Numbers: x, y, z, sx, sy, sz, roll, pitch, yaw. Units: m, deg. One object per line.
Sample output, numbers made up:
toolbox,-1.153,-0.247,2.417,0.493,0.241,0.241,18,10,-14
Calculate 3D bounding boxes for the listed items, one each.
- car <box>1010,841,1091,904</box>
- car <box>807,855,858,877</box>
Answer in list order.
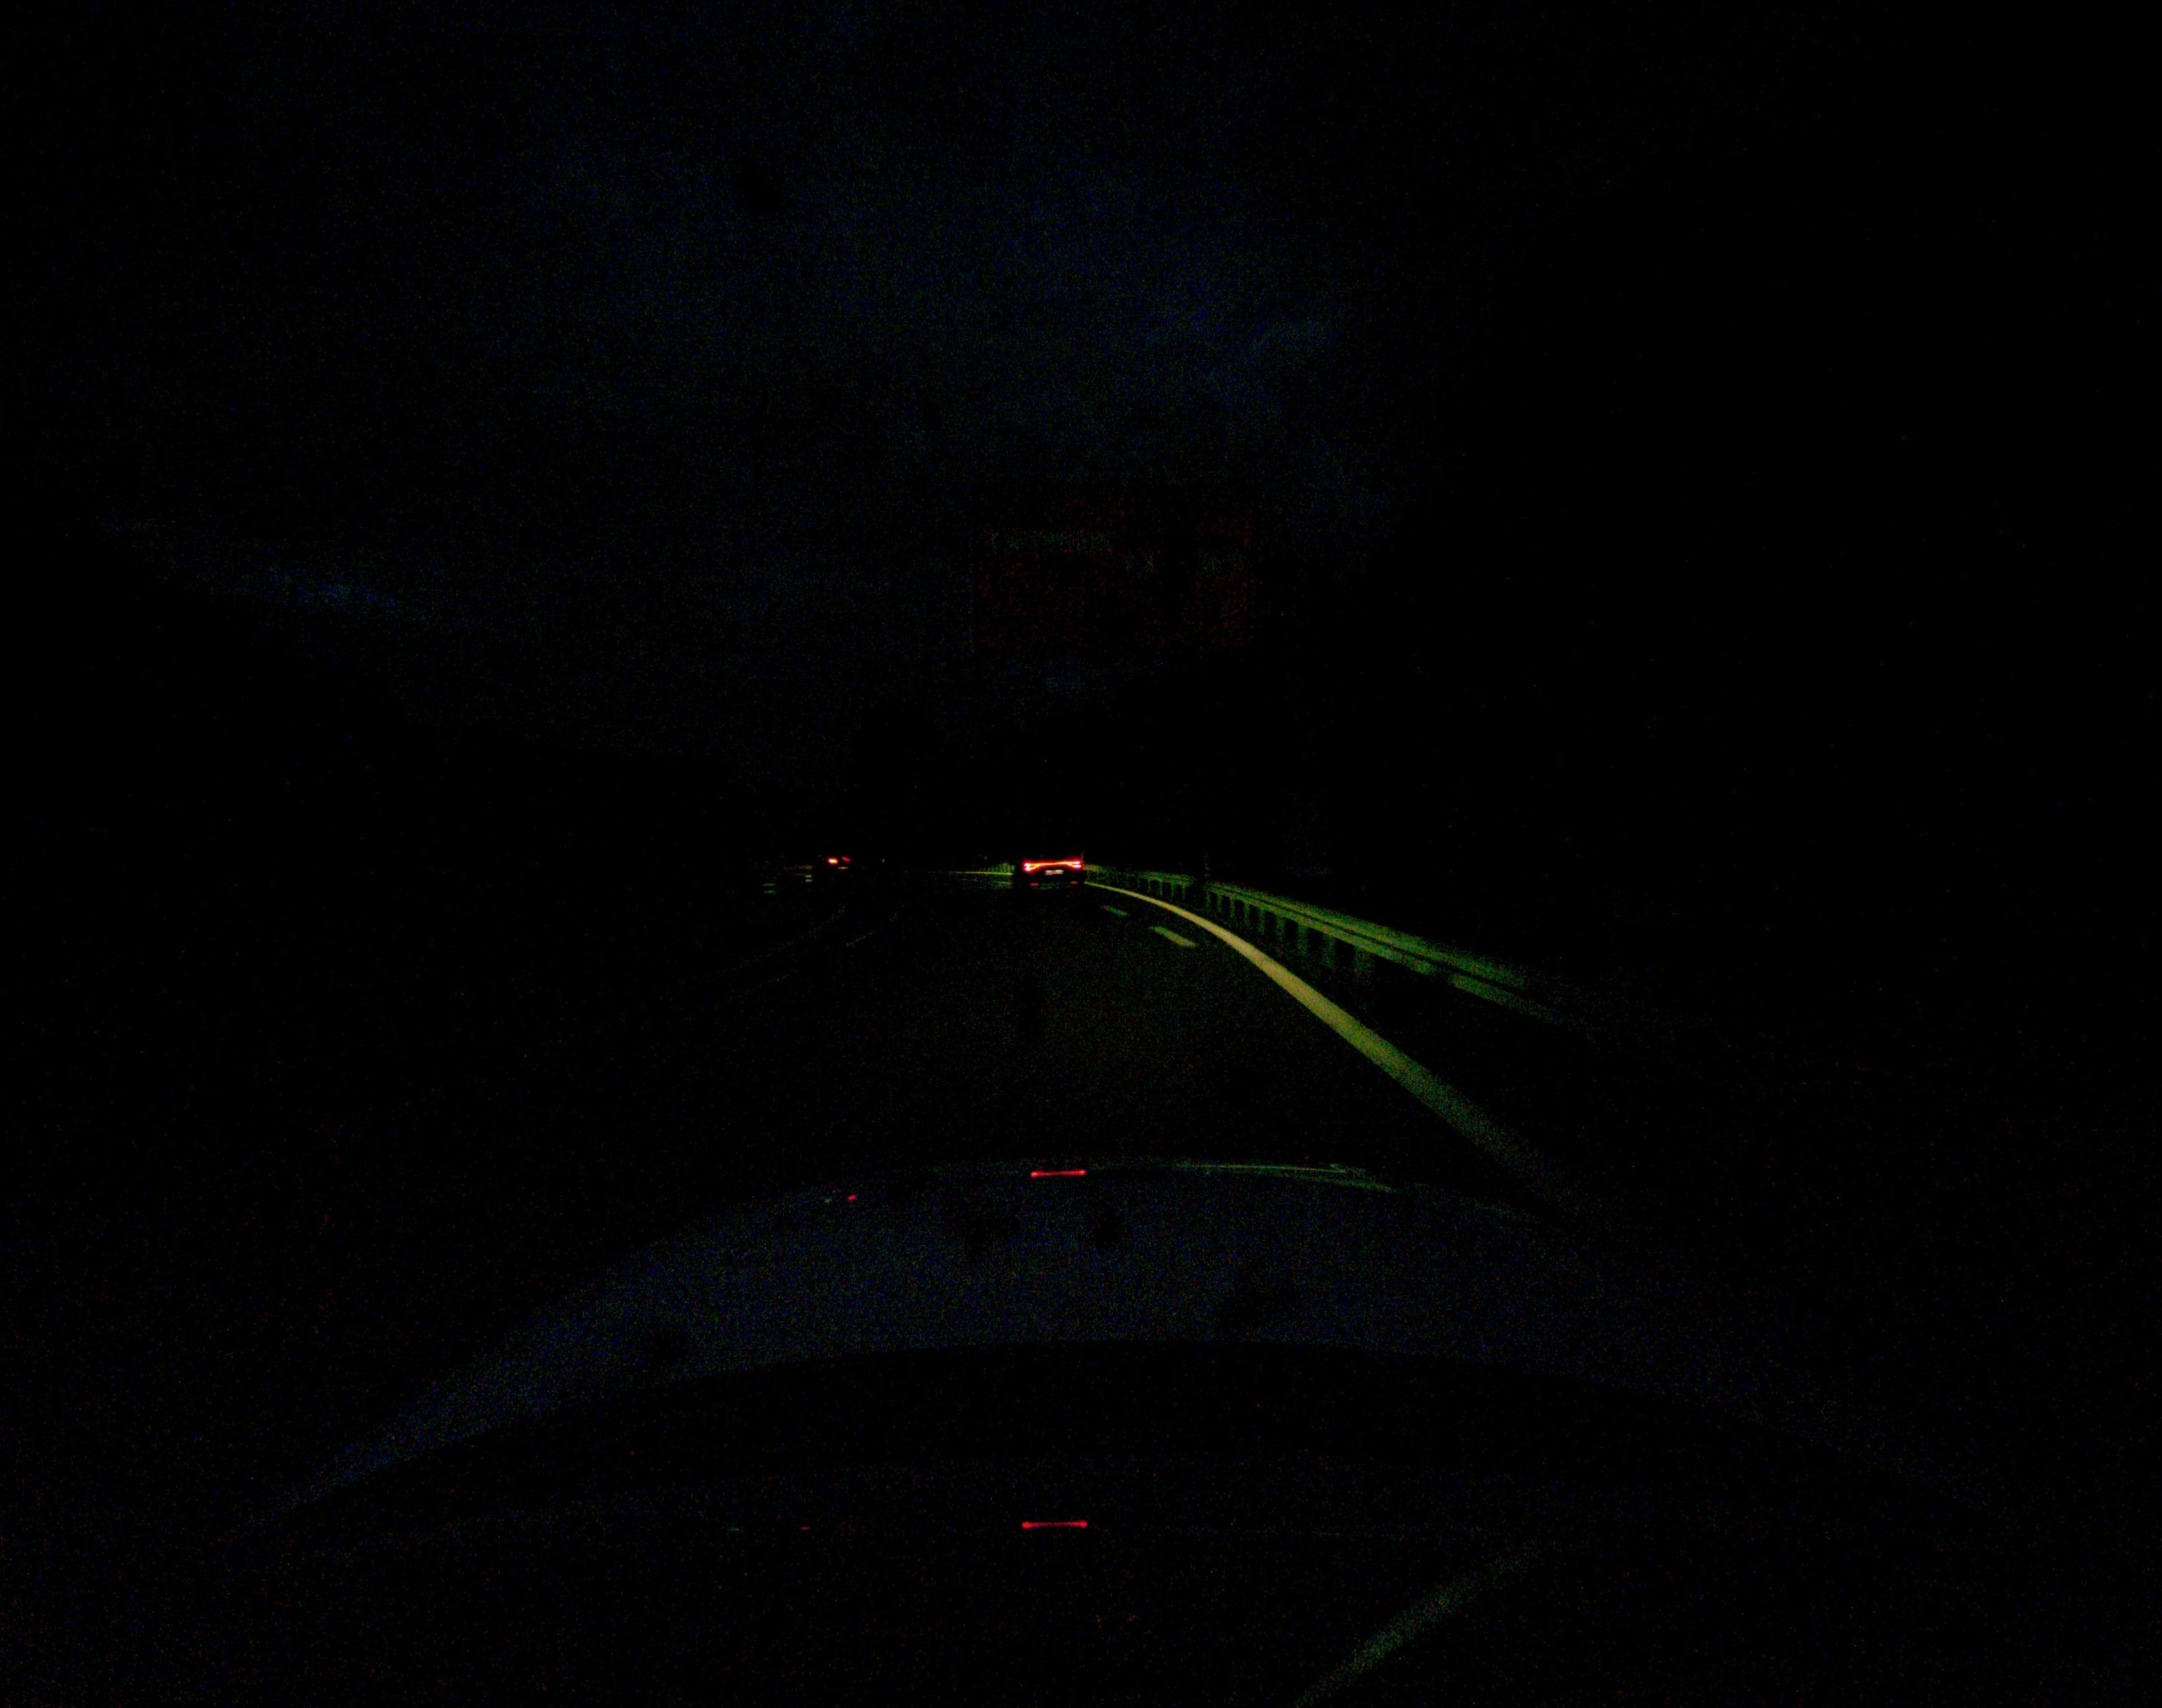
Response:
car,-1.034,0.498,24.899,1.992,1.659,4.303,-3,1,-8
car,-19.345,0.889,63.333,3.949,1.598,2.012,0,0,41
